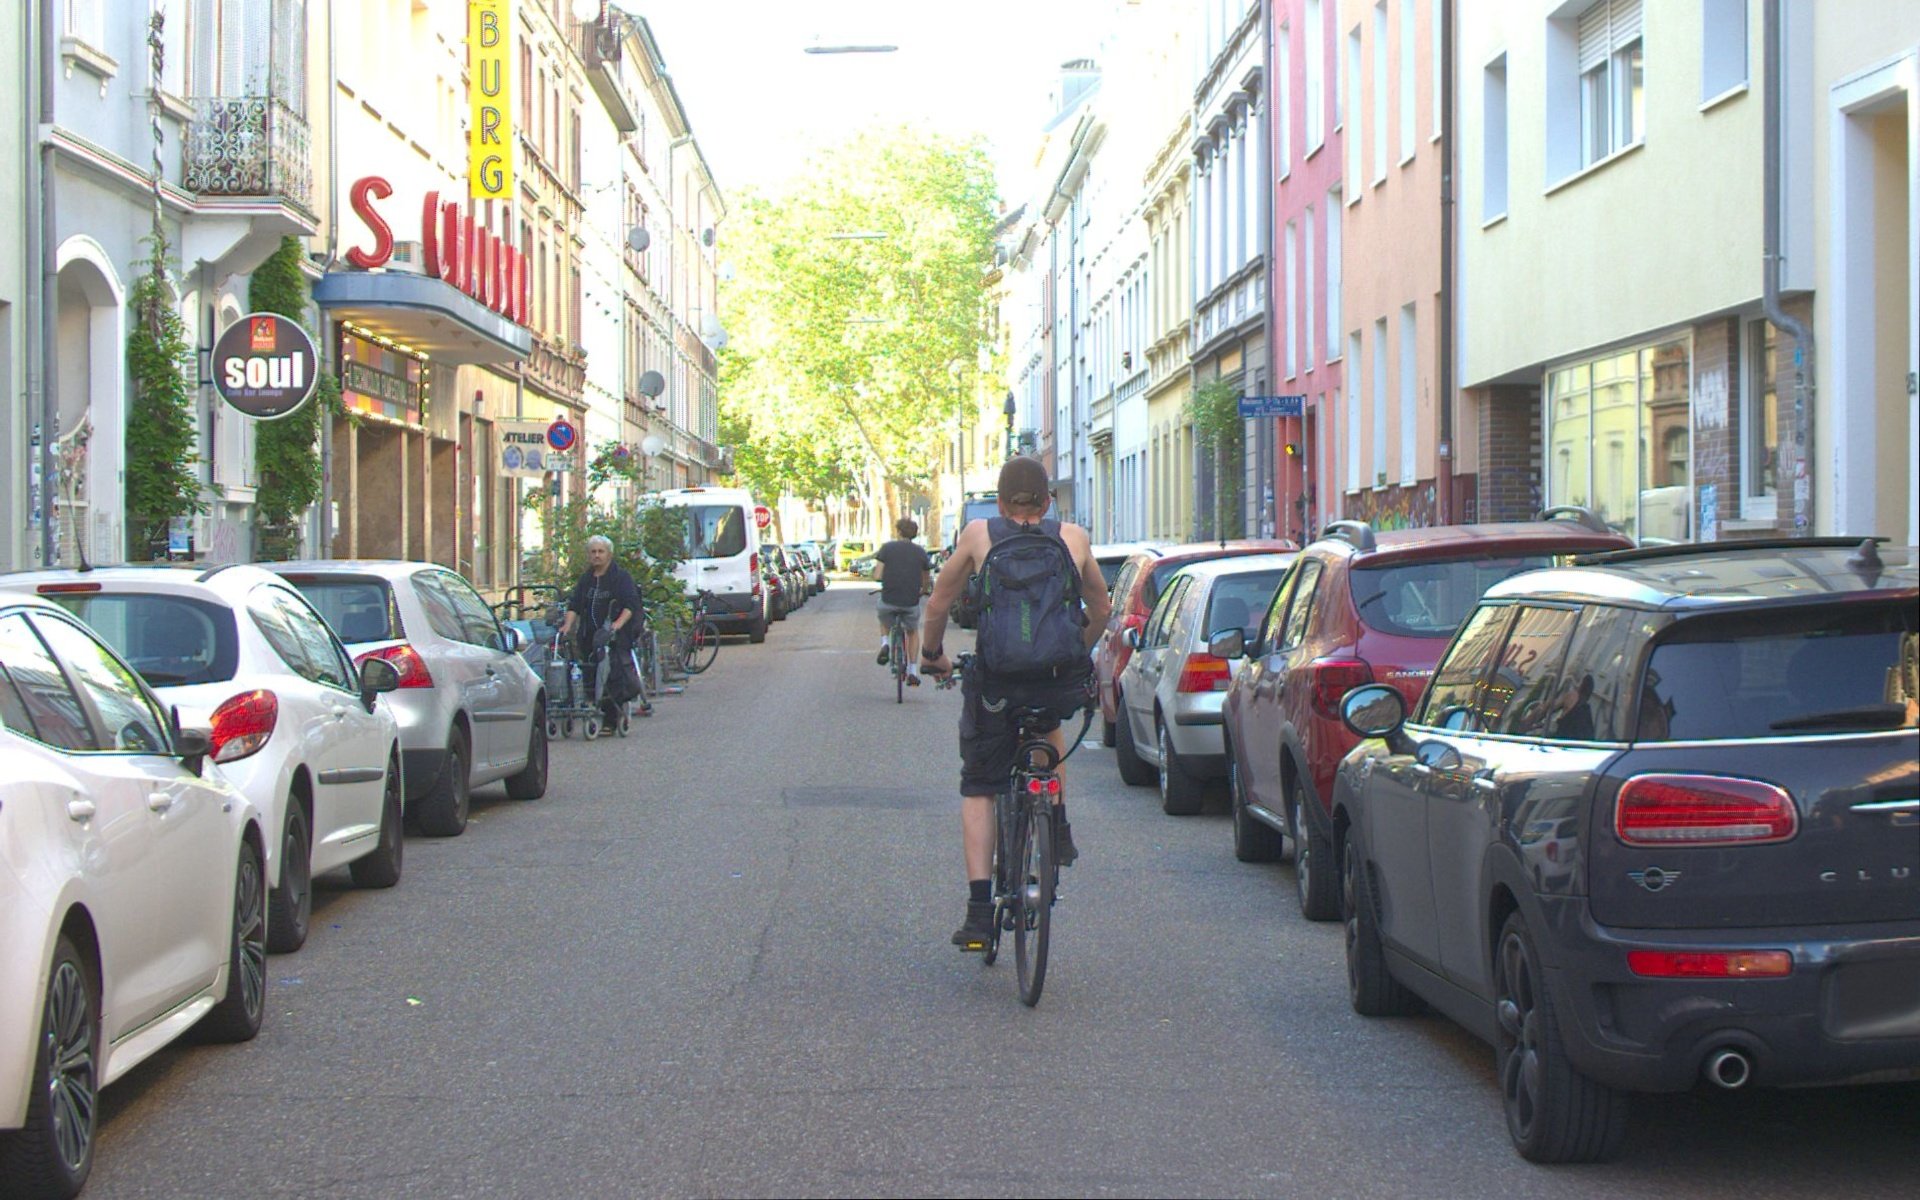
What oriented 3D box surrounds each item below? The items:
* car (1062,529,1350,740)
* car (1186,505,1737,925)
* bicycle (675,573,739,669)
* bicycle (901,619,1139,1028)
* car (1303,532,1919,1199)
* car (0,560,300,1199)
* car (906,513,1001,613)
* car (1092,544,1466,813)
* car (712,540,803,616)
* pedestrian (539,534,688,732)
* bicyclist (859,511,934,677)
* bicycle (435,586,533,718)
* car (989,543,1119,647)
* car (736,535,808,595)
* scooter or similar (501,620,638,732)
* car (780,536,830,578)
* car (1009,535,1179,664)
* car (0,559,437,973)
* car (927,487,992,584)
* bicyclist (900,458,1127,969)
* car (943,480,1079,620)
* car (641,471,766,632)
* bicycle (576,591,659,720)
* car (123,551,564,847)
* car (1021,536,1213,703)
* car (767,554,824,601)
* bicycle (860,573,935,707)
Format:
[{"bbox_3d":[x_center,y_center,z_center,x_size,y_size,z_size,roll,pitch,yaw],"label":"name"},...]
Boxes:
[{"bbox_3d":[1.753,0.217,25.629,1.710,1.378,4.000,-2,1,-1],"label":"car"},{"bbox_3d":[2.075,0.425,15.302,1.710,1.551,4.000,-2,1,-1],"label":"car"},{"bbox_3d":[-3.185,0.247,43.179,0.758,1.159,2.275,1,0,-5],"label":"bicycle"},{"bbox_3d":[0.162,0.690,11.670,0.702,1.204,2.342,1,0,-1],"label":"bicycle"},{"bbox_3d":[2.144,0.597,9.610,1.817,1.516,4.000,-2,1,-1],"label":"car"},{"bbox_3d":[-2.890,0.656,9.012,1.672,1.437,4.166,-3,1,-3],"label":"car"},{"bbox_3d":[-0.230,-0.998,93.211,2.307,2.529,6.770,-2,1,-1],"label":"car"},{"bbox_3d":[1.801,0.406,20.565,1.710,1.378,4.000,-2,1,-1],"label":"car"},{"bbox_3d":[-4.132,-0.457,70.746,1.672,1.437,4.165,-2,1,-1],"label":"car"},{"bbox_3d":[-2.817,0.259,27.948,0.772,1.573,0.898,1,0,43],"label":"pedestrian"},{"bbox_3d":[-0.629,-0.069,33.707,0.702,1.599,0.813,1,2,-2],"label":"bicyclist"},{"bbox_3d":[-4.298,0.448,31.174,0.758,1.130,2.275,1,0,-5],"label":"bicycle"},{"bbox_3d":[1.387,-0.093,52.129,1.710,1.442,4.000,-2,1,-1],"label":"car"},{"bbox_3d":[-4.860,-0.903,89.297,1.672,1.437,4.165,-2,1,-1],"label":"car"},{"bbox_3d":[-3.132,0.602,27.602,0.772,0.870,0.769,1,1,43],"label":"scooter or similar"},{"bbox_3d":[-5.608,-1.542,124.623,1.672,1.437,4.165,-2,1,-1],"label":"car"},{"bbox_3d":[1.537,-0.025,40.760,1.710,1.389,4.000,-2,1,-1],"label":"car"},{"bbox_3d":[-3.270,0.591,14.192,1.672,1.437,3.768,-2,1,-1],"label":"car"},{"bbox_3d":[-0.055,-2.615,140.593,2.307,3.755,6.770,-2,1,-1],"label":"car"},{"bbox_3d":[0.163,0.359,11.565,0.702,1.627,1.090,1,0,-1],"label":"bicyclist"},{"bbox_3d":[0.944,-0.975,67.775,2.307,2.529,6.770,-2,1,-1],"label":"car"},{"bbox_3d":[-4.159,-0.805,56.257,1.909,2.488,4.166,-1,1,-3],"label":"car"},{"bbox_3d":[-3.084,0.480,31.083,0.699,1.102,2.275,1,0,-5],"label":"bicycle"},{"bbox_3d":[-3.354,0.485,19.361,1.672,1.437,3.754,-2,1,1],"label":"car"},{"bbox_3d":[1.557,0.170,35.307,1.620,1.545,4.000,-2,1,-1],"label":"car"},{"bbox_3d":[-5.344,-0.727,112.054,1.672,1.437,4.165,-2,1,-1],"label":"car"},{"bbox_3d":[-0.628,0.373,33.858,0.702,1.203,2.342,1,2,-2],"label":"bicycle"}]
